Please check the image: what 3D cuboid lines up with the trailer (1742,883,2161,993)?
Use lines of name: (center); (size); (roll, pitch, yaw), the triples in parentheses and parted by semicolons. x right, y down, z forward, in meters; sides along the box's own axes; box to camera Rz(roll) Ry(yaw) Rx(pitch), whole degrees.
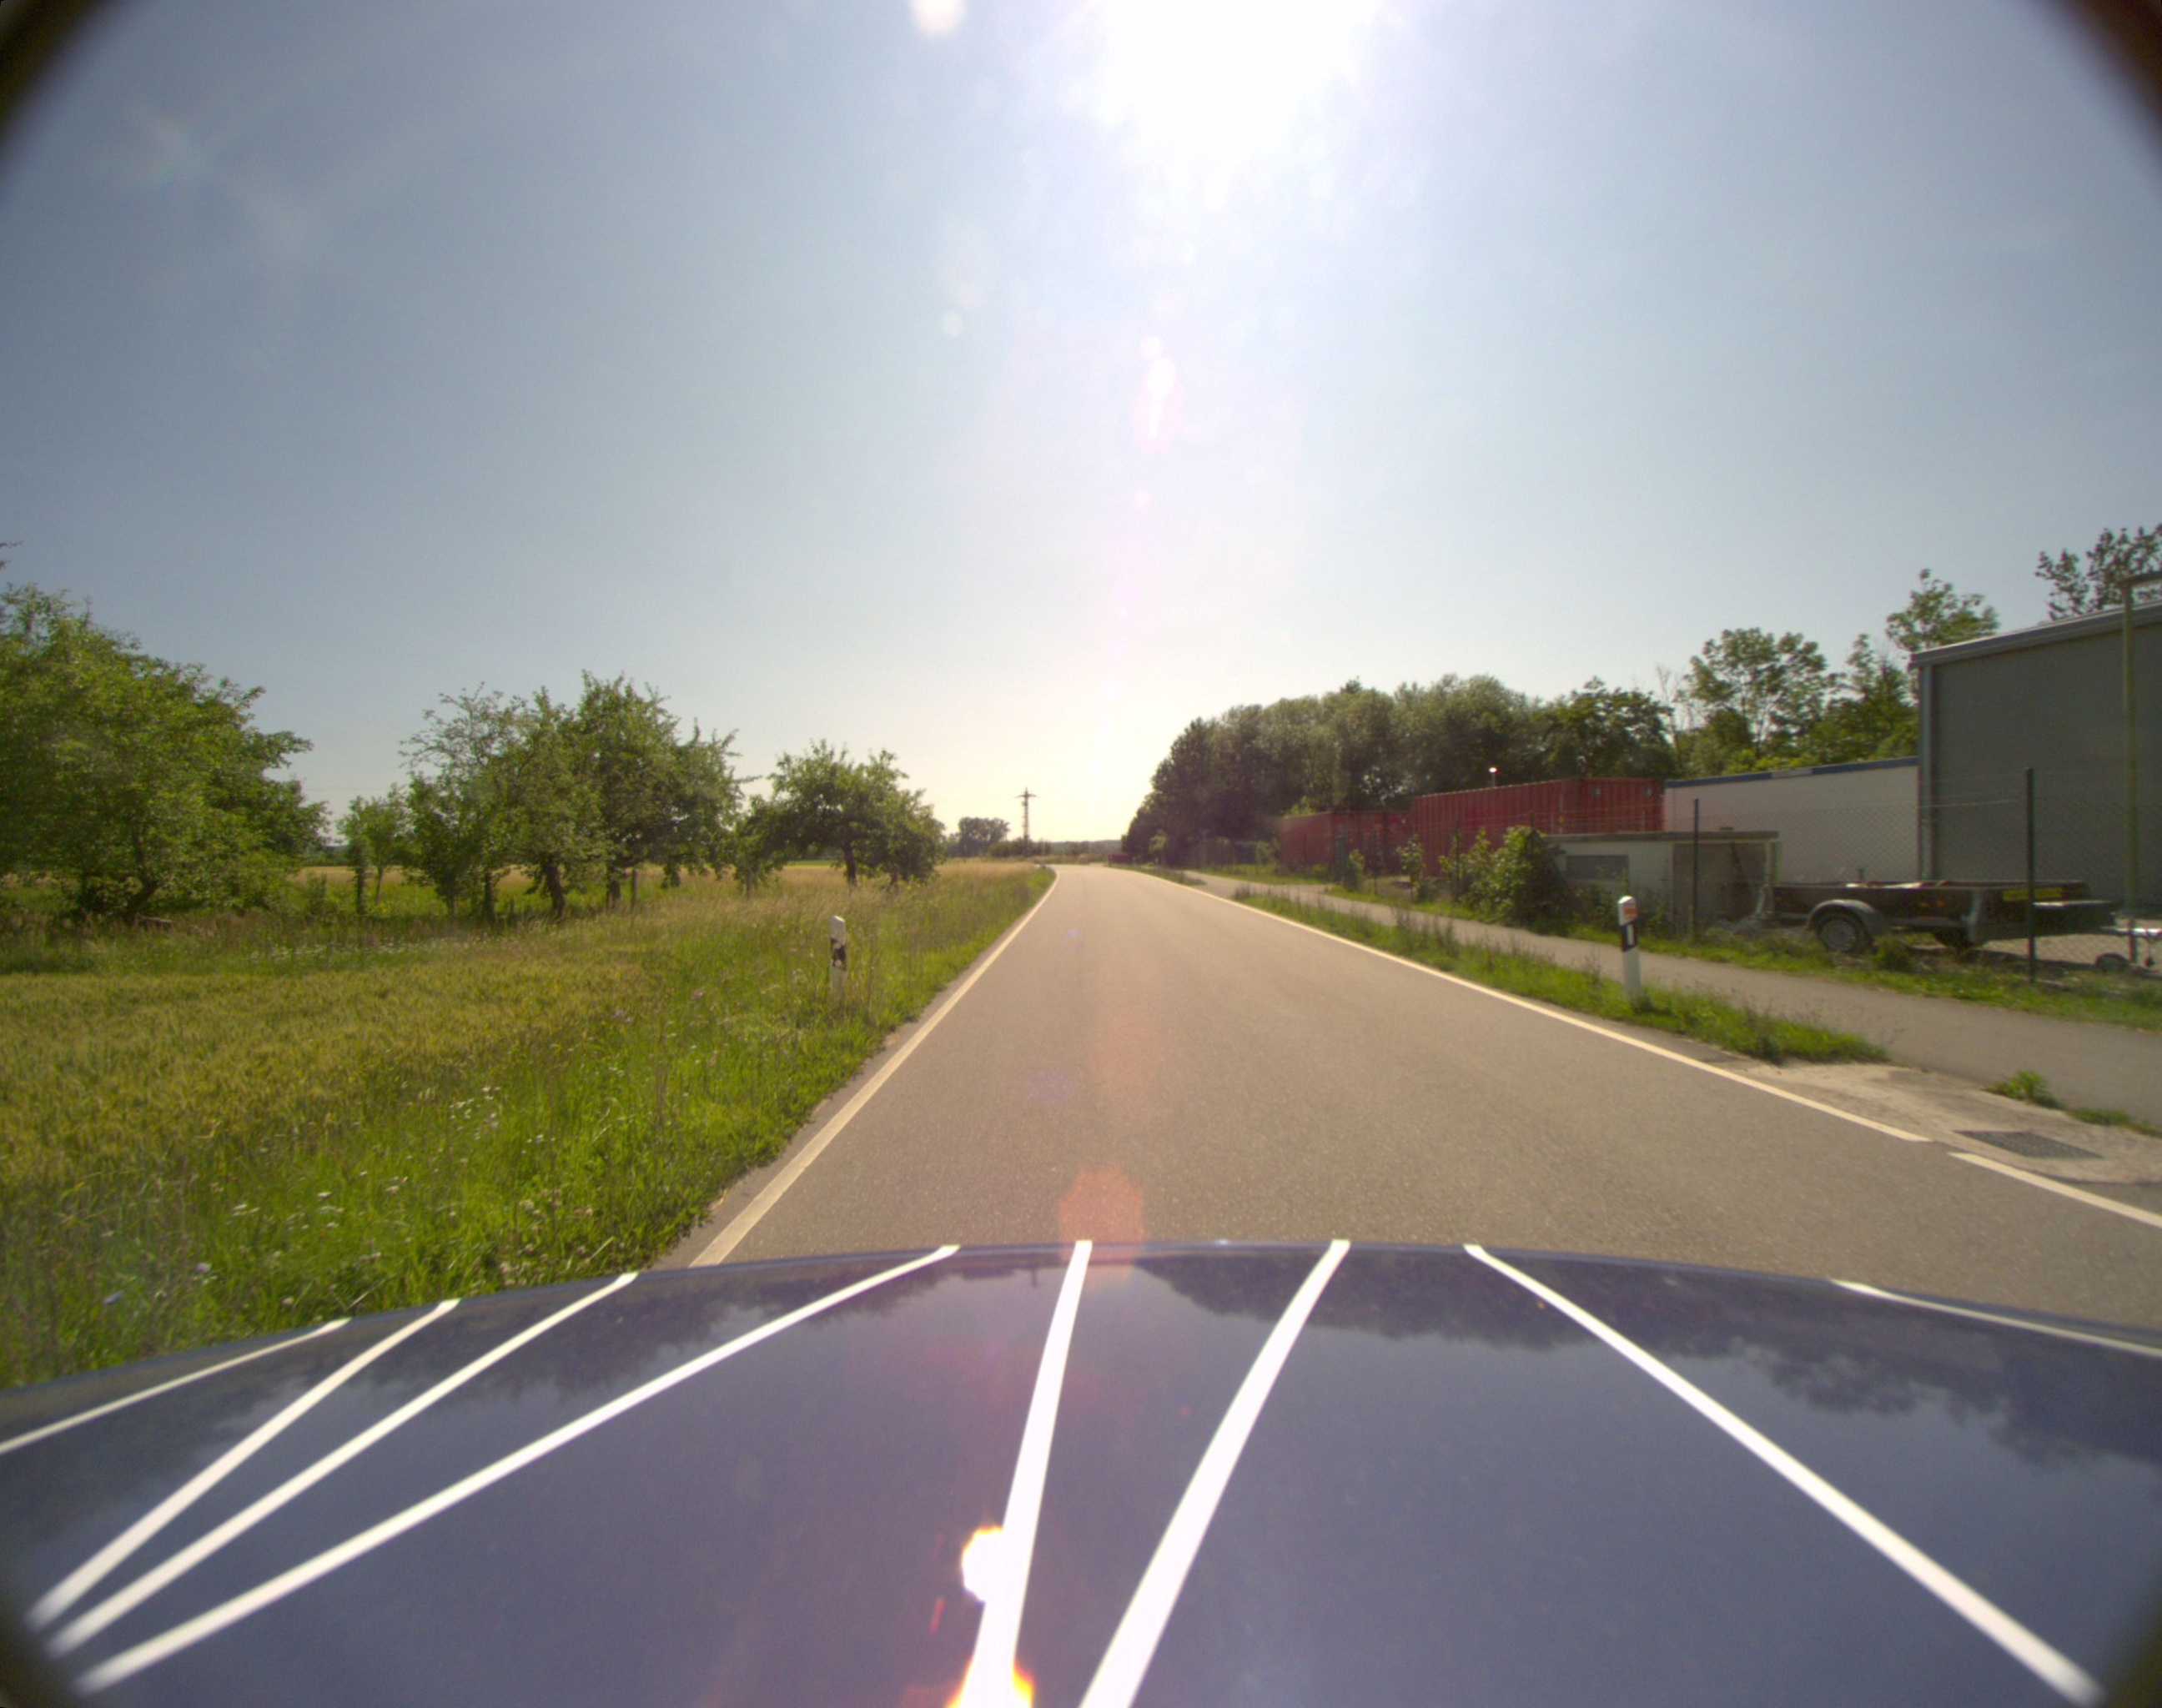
trailer: (9.938, 0.837, 8.719); (1.635, 0.861, 3.356); (0, 0, -6)
